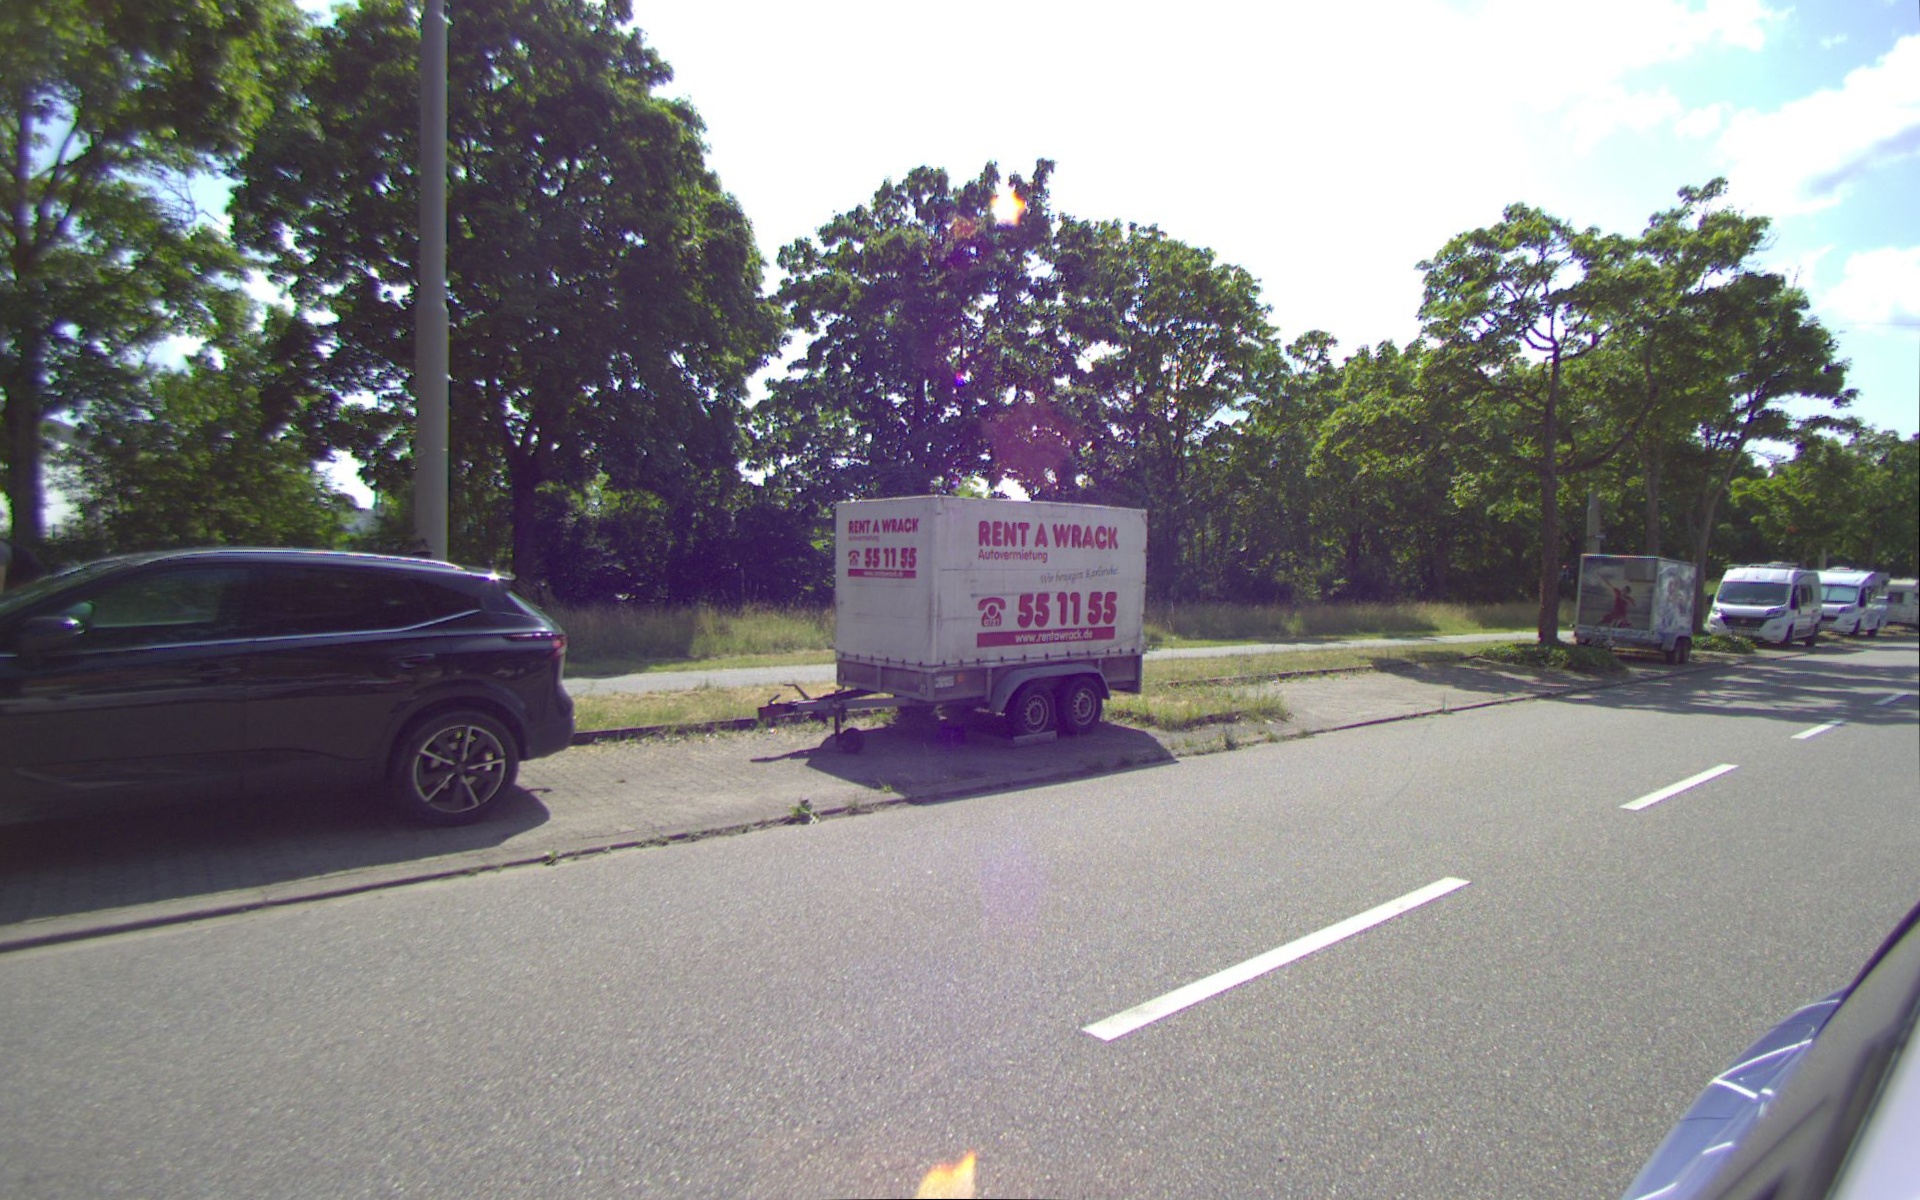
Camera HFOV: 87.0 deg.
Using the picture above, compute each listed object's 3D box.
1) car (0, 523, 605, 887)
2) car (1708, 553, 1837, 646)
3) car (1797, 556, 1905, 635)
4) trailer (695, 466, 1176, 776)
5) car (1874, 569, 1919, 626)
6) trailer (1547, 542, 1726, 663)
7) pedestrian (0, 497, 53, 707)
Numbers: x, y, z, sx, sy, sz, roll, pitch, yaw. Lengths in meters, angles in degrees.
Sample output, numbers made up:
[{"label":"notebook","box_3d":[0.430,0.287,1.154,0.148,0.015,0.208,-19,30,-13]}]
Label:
[{"label":"car","box_3d":[-4.453,0.448,5.804,4.285,1.711,1.594,-1,3,-40]},{"label":"car","box_3d":[26.018,-0.049,32.326,6.044,2.729,2.179,-1,0,-41]},{"label":"car","box_3d":[36.007,-0.237,40.833,6.650,2.836,2.261,-1,5,-41]},{"label":"trailer","box_3d":[-0.065,0.091,10.012,4.527,2.380,1.956,0,3,-42]},{"label":"car","box_3d":[46.795,-0.133,49.449,6.650,2.571,2.261,-1,4,-41]},{"label":"trailer","box_3d":[15.567,-0.013,23.205,4.698,2.392,1.999,-1,6,-40]},{"label":"pedestrian","box_3d":[-8.561,0.019,8.994,0.727,1.816,0.718,0,0,-41]}]
